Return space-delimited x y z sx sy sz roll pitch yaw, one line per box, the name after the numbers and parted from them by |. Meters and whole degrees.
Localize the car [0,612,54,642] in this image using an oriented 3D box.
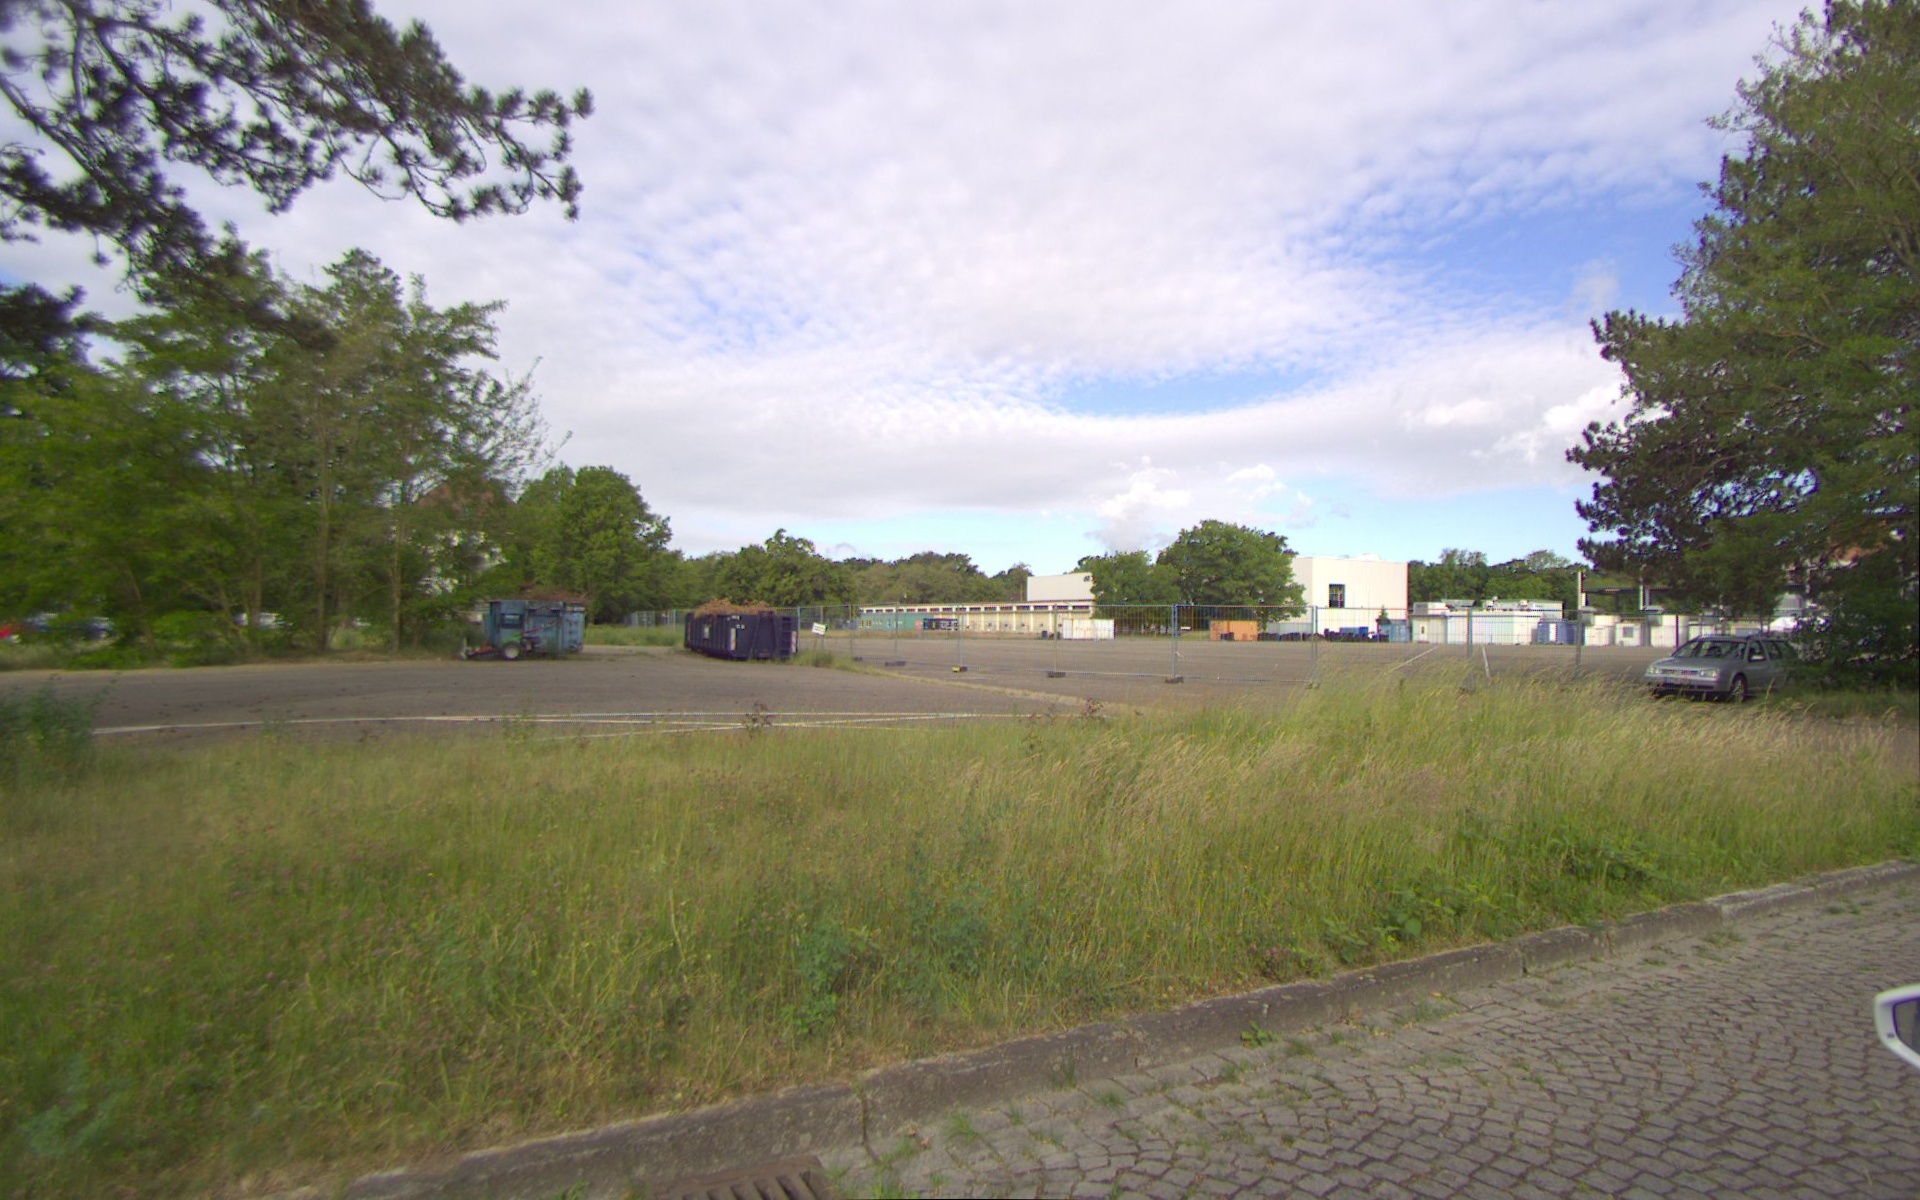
-51.539 1.433 53.885 3.953 1.590 1.984 2 -1 -30 | car

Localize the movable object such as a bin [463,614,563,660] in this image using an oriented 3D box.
-12.666 1.041 28.467 2.507 1.228 1.162 1 -1 -28 | movable object such as a bin

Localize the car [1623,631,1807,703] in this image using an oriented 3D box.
17.437 1.490 23.157 4.318 1.496 1.910 1 -1 -30 | car

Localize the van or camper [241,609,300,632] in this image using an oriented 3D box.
-76.875 2.283 112.154 5.188 2.496 2.192 1 -1 -30 | van or camper
